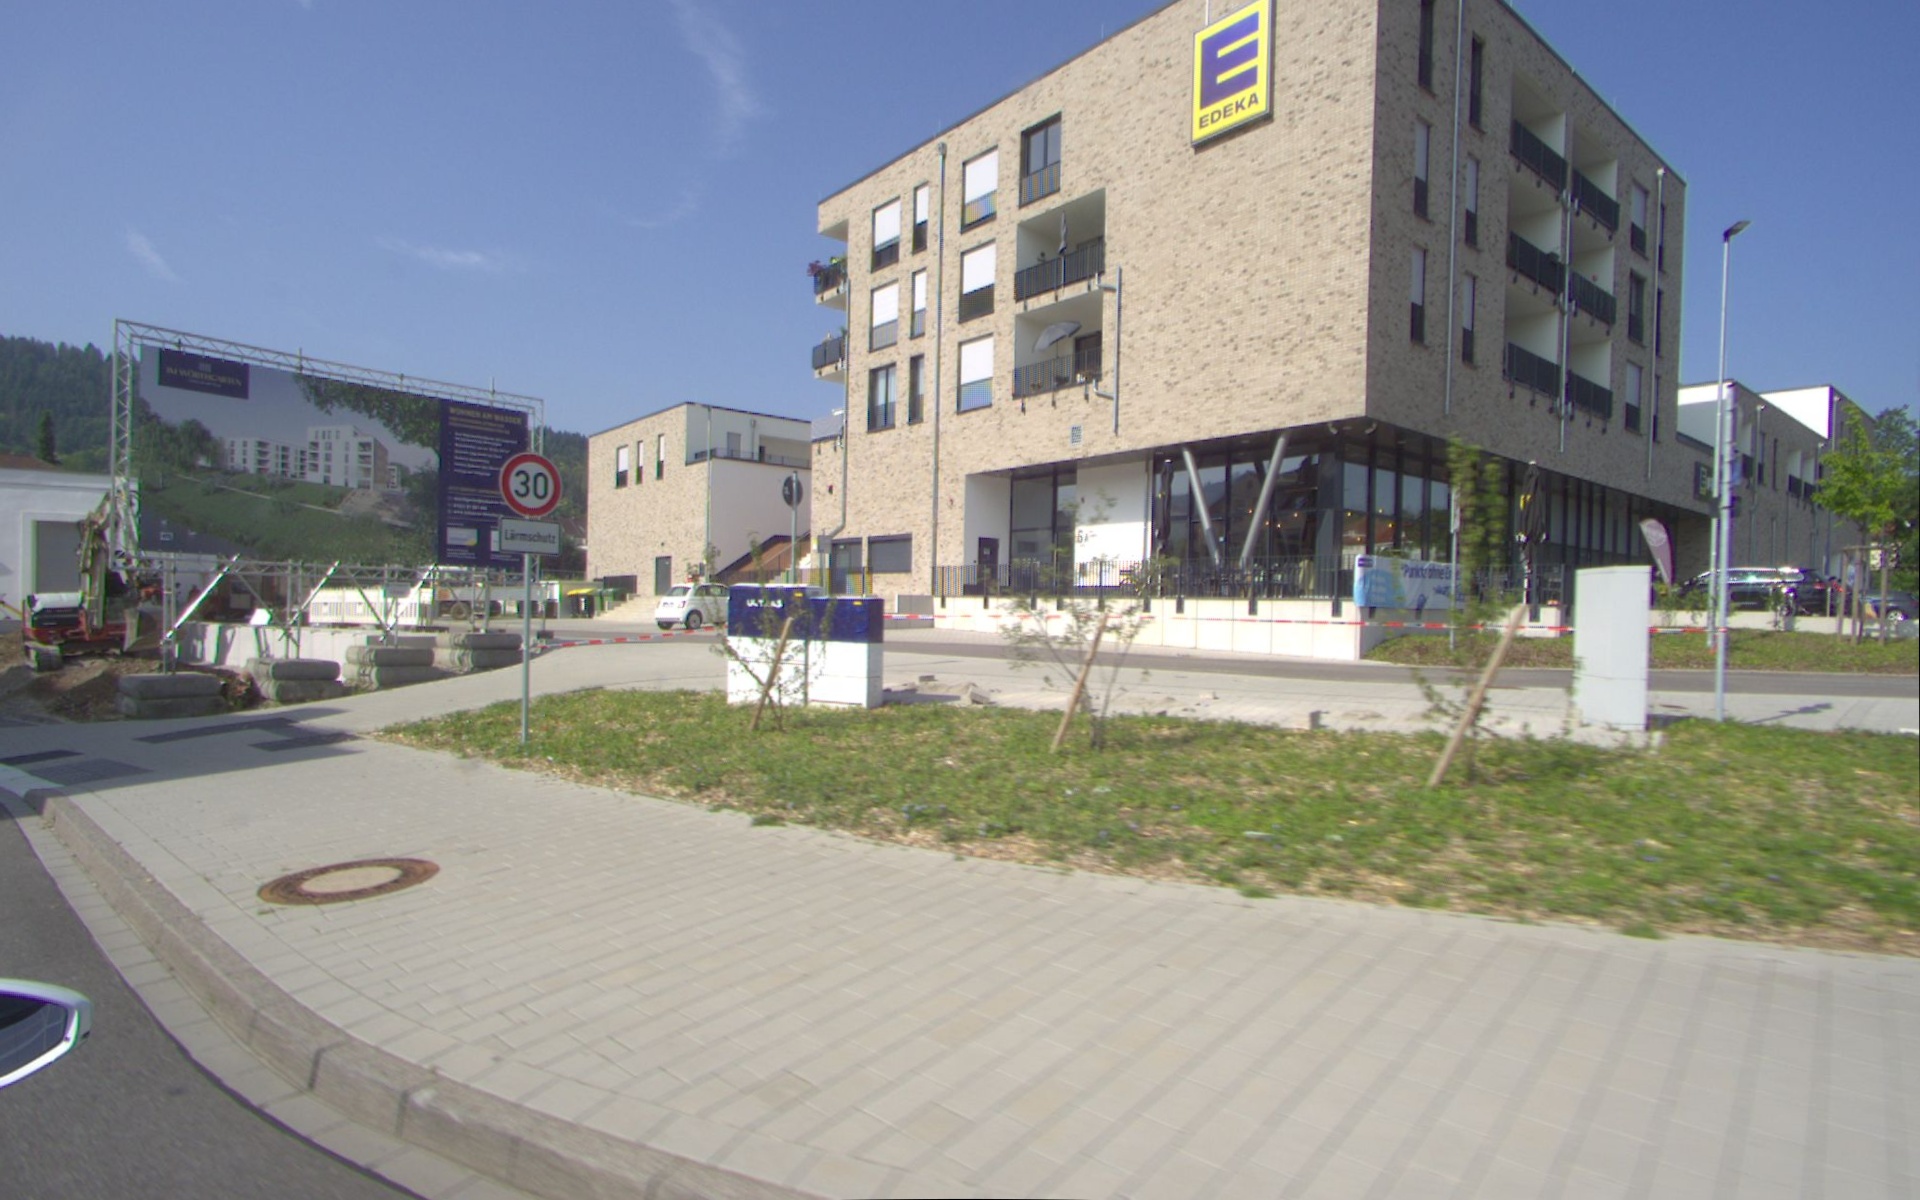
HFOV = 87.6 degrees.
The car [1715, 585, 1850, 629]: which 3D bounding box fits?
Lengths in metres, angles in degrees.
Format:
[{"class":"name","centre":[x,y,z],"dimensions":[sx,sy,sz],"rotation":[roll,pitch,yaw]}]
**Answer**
[{"class":"car","centre":[28.421,0.234,34.671],"dimensions":[1.529,1.368,3.309],"rotation":[5,-2,-35]}]

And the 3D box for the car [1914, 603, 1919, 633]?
[{"class":"car","centre":[48.184,0.937,48.123],"dimensions":[3.295,1.368,1.615],"rotation":[2,-2,43]}]

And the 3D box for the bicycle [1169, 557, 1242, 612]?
[{"class":"bicycle","centre":[5.969,-0.358,24.268],"dimensions":[0.846,1.159,2.231],"rotation":[2,-2,38]}]

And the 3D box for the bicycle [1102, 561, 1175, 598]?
[{"class":"bicycle","centre":[5.406,-0.613,30.498],"dimensions":[0.686,1.058,2.225],"rotation":[4,-2,-39]}]

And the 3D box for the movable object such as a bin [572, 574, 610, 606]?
[{"class":"movable object such as a bin","centre":[-18.572,-0.516,50.418],"dimensions":[1.292,1.482,1.307],"rotation":[5,-2,-44]}]

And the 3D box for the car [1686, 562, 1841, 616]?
[{"class":"car","centre":[22.946,-0.330,28.661],"dimensions":[1.478,1.368,3.298],"rotation":[5,-2,-45]}]

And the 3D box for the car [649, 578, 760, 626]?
[{"class":"car","centre":[-8.469,0.076,33.358],"dimensions":[1.573,1.514,3.395],"rotation":[-1,-1,35]}]

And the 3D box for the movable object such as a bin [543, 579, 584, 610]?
[{"class":"movable object such as a bin","centre":[-20.788,-0.292,52.514],"dimensions":[1.571,1.482,1.307],"rotation":[5,-2,-44]}]

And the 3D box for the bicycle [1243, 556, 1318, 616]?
[{"class":"bicycle","centre":[7.266,-0.296,22.647],"dimensions":[0.846,1.159,2.231],"rotation":[2,-2,38]}]

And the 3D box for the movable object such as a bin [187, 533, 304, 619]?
[{"class":"movable object such as a bin","centre":[-34.032,-1.045,47.974],"dimensions":[2.811,3.667,5.723],"rotation":[4,-2,-19]}]

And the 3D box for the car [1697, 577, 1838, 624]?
[{"class":"car","centre":[26.136,0.004,32.484],"dimensions":[1.474,1.368,3.306],"rotation":[5,-2,-37]}]

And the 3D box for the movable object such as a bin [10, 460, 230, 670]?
[{"class":"movable object such as a bin","centre":[-18.685,-0.604,22.070],"dimensions":[7.705,3.902,2.286],"rotation":[0,-3,40]}]

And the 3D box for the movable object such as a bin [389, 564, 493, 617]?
[{"class":"movable object such as a bin","centre":[-26.102,-0.455,50.489],"dimensions":[4.559,2.604,1.916],"rotation":[0,0,-29]}]

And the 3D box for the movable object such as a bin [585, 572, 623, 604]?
[{"class":"movable object such as a bin","centre":[-17.515,-0.595,49.286],"dimensions":[1.292,1.482,1.307],"rotation":[5,-2,-44]}]

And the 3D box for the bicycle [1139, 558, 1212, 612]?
[{"class":"bicycle","centre":[5.408,-0.365,25.064],"dimensions":[0.846,1.159,2.231],"rotation":[2,-2,38]}]

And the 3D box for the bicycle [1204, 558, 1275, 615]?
[{"class":"bicycle","centre":[6.572,-0.304,23.454],"dimensions":[0.756,1.159,2.231],"rotation":[2,-2,38]}]

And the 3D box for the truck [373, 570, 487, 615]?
[{"class":"truck","centre":[-28.143,-0.364,53.306],"dimensions":[5.253,2.296,2.208],"rotation":[0,0,-28]}]

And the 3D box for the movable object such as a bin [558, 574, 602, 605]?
[{"class":"movable object such as a bin","centre":[-19.642,-0.538,51.699],"dimensions":[1.683,1.482,1.307],"rotation":[5,-2,-44]}]

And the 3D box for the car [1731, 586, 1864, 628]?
[{"class":"car","centre":[29.878,0.236,35.801],"dimensions":[1.564,1.368,3.310],"rotation":[5,-2,-34]}]
